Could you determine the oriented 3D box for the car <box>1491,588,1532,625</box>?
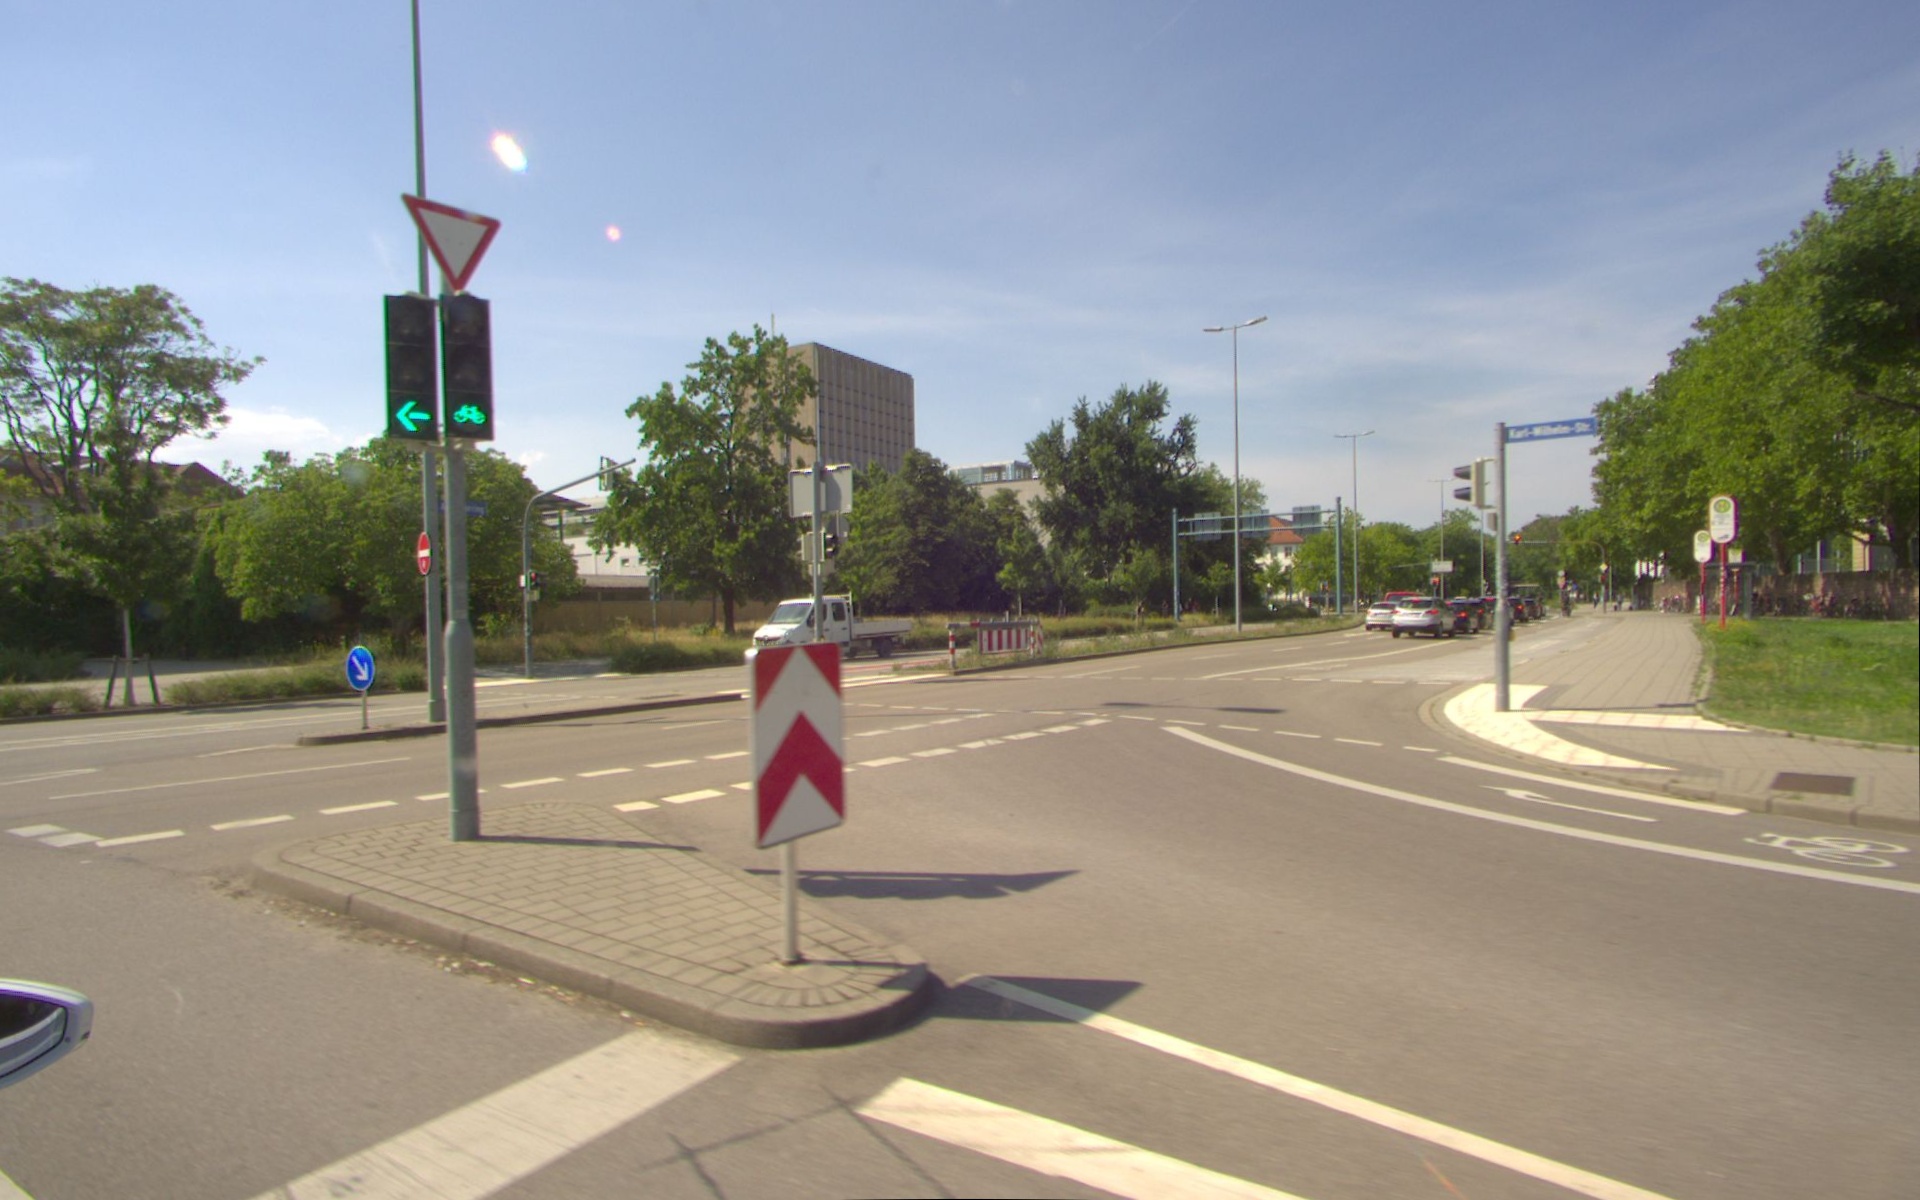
[{"bbox_3d":[31.708,0.338,57.496,1.970,2.040,3.980,-1,1,30],"label":"car"}]

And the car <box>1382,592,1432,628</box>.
[{"bbox_3d":[24.308,0.512,54.345,1.950,1.821,4.587,-1,0,31],"label":"car"}]

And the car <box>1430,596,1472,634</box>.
[{"bbox_3d":[22.563,0.657,46.115,1.558,1.612,3.987,-1,0,23],"label":"car"}]

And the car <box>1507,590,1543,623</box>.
[{"bbox_3d":[36.484,0.379,64.674,1.970,2.040,3.980,-1,1,30],"label":"car"}]

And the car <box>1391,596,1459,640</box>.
[{"bbox_3d":[19.066,0.710,40.948,1.689,1.640,4.188,0,1,37],"label":"car"}]

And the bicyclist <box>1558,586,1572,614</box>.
[{"bbox_3d":[46.060,0.010,76.231,0.768,2.039,1.265,-1,-2,38],"label":"bicyclist"}]

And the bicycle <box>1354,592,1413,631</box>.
[{"bbox_3d":[20.878,0.547,49.263,1.973,1.839,3.976,-1,0,34],"label":"bicycle"}]

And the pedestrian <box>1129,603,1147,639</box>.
[{"bbox_3d":[12.950,1.543,72.698,0.941,2.566,1.118,-1,-2,32],"label":"pedestrian"}]

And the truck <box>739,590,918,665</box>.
[{"bbox_3d":[-4.539,0.897,36.143,2.380,2.386,7.008,-3,-1,32],"label":"truck"}]

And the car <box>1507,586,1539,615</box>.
[{"bbox_3d":[40.553,0.028,72.077,1.970,2.040,3.980,-1,1,30],"label":"car"}]

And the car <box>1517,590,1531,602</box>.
[{"bbox_3d":[104.147,-0.698,184.934,1.968,2.039,3.988,-1,-2,26],"label":"car"}]

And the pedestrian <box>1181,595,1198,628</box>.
[{"bbox_3d":[17.753,0.881,77.361,0.941,2.567,1.117,-1,1,32],"label":"pedestrian"}]

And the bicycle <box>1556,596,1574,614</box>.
[{"bbox_3d":[45.976,0.416,76.104,0.838,1.233,3.463,-1,-2,37],"label":"bicycle"}]
